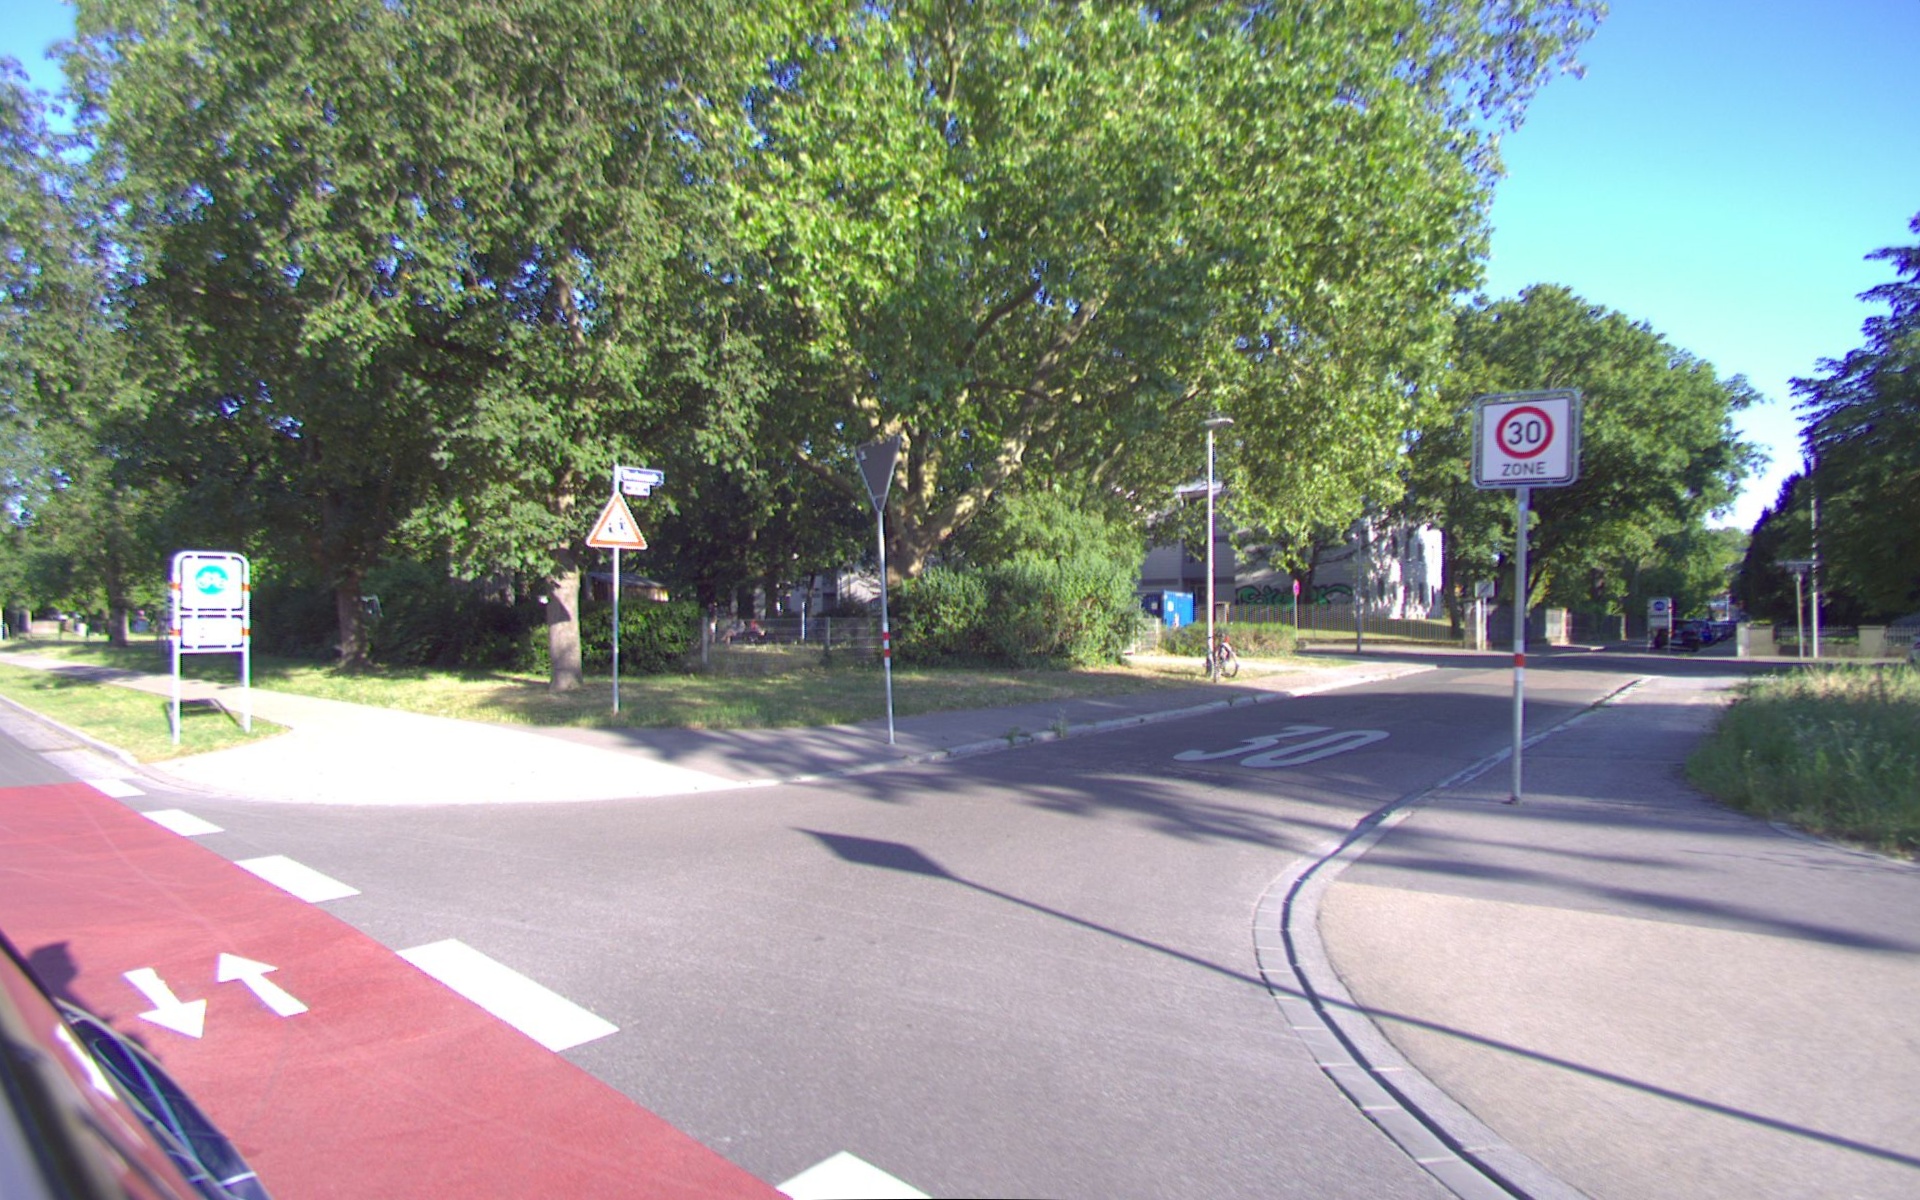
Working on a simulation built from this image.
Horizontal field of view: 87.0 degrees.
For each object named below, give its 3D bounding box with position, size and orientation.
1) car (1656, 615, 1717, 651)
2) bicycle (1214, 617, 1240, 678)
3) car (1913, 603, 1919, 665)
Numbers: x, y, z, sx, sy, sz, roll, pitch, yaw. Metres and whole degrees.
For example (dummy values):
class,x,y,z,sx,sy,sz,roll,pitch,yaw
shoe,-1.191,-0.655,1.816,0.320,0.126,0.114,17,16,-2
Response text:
class,x,y,z,sx,sy,sz,roll,pitch,yaw
car,33.936,1.516,47.226,1.833,1.567,3.943,-2,-2,43
bicycle,5.571,0.962,21.054,0.417,1.196,1.579,0,-1,19
car,26.784,0.835,24.844,4.751,1.609,1.676,-1,-1,39
